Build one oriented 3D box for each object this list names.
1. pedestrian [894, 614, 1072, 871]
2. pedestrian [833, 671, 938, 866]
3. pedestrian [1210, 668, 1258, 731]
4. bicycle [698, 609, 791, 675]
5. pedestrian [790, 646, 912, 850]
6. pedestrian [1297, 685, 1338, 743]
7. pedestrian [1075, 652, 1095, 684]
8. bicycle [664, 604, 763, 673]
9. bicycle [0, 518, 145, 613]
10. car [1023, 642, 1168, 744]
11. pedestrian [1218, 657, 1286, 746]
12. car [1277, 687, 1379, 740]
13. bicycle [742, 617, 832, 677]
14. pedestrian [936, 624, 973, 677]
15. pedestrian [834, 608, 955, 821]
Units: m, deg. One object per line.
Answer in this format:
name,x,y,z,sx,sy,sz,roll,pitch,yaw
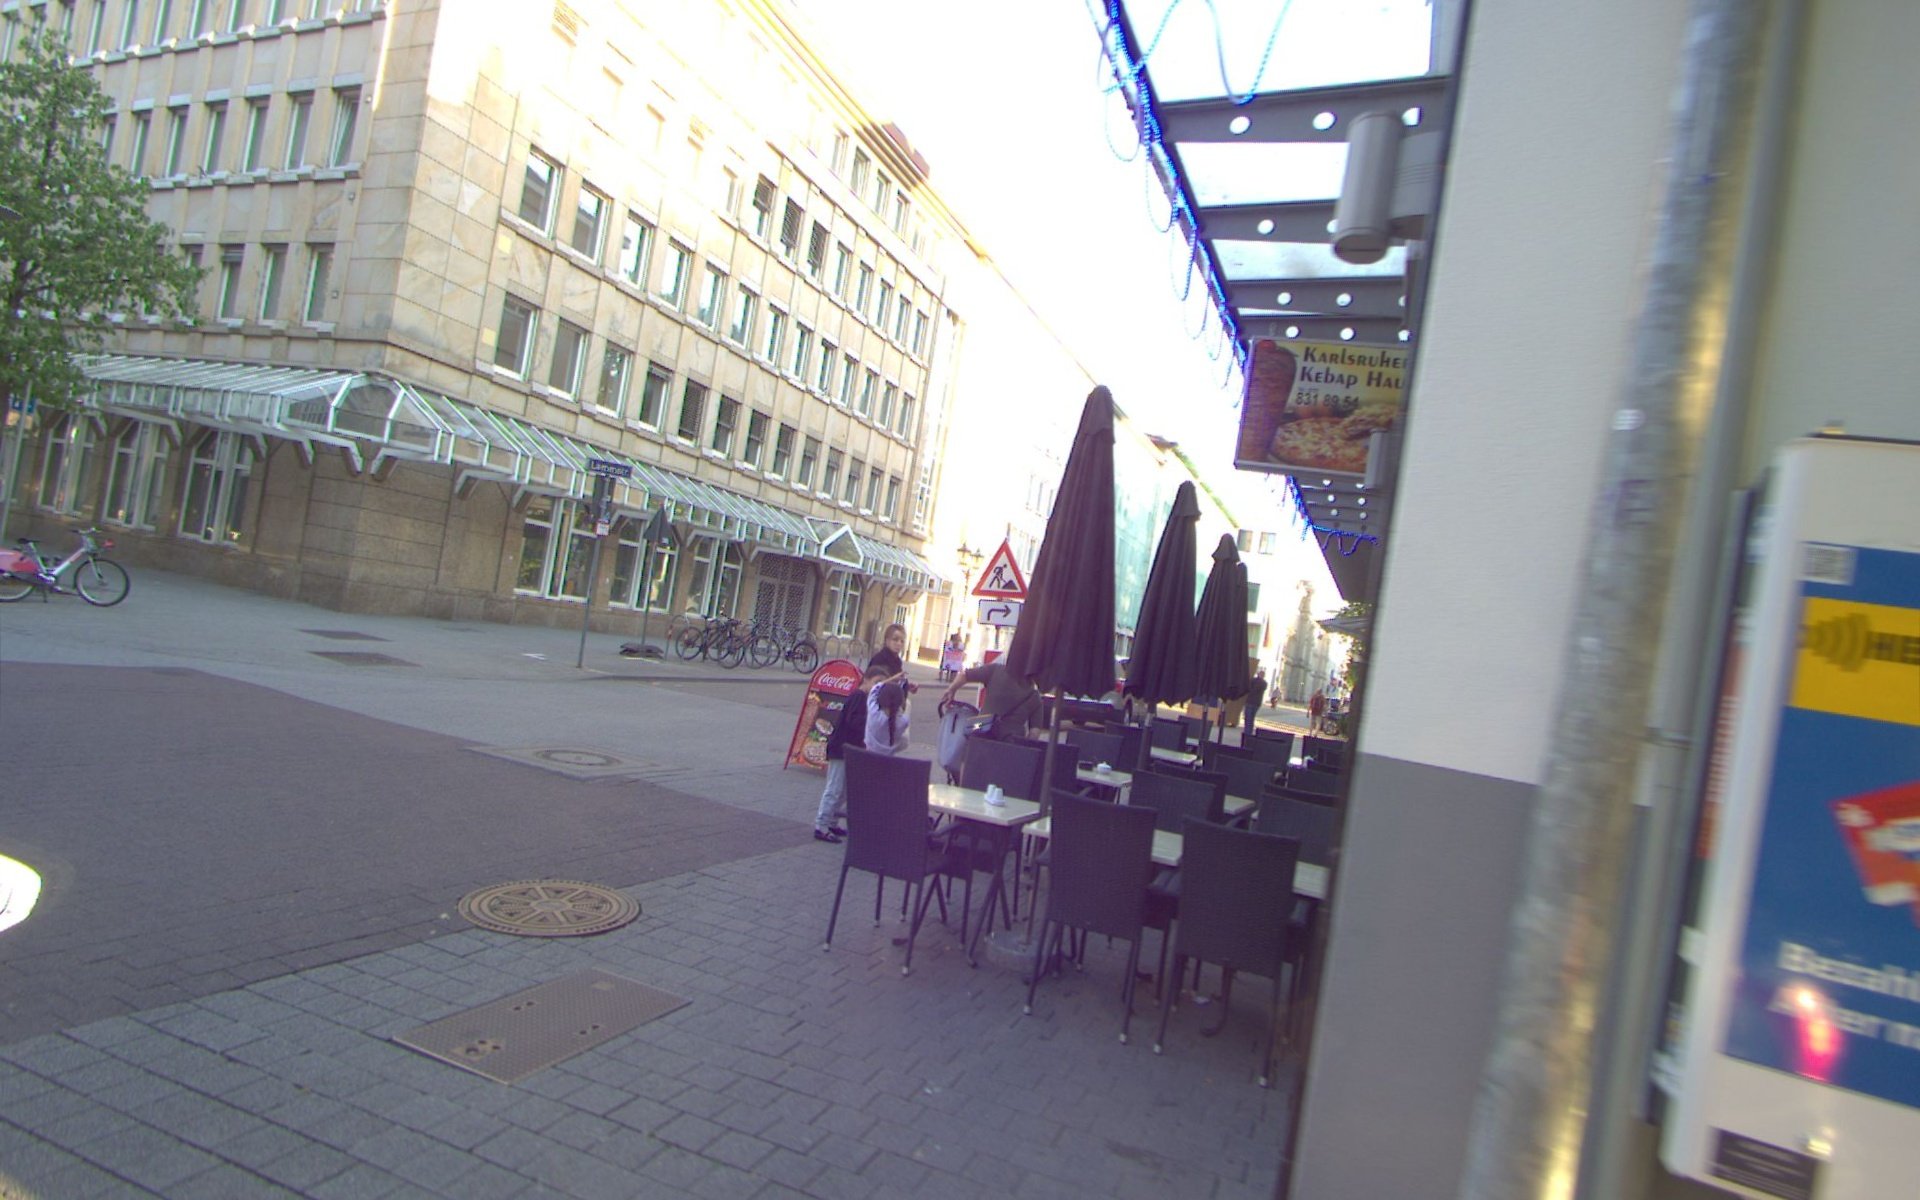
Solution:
pedestrian,0.162,0.949,6.884,0.781,1.553,0.620,9,-1,35
pedestrian,-0.488,1.071,6.487,0.405,1.137,0.471,9,-1,-19
pedestrian,8.364,3.021,30.740,0.927,1.723,0.890,9,-1,-7
bicycle,-4.678,0.900,21.814,1.914,1.063,0.544,10,0,26
pedestrian,-0.733,0.988,6.936,0.505,1.261,0.666,9,-1,7
pedestrian,11.666,3.702,32.798,0.926,1.723,0.891,9,-1,27
pedestrian,6.823,3.719,54.897,0.650,1.591,0.729,9,-1,24
bicycle,-5.068,0.782,20.656,1.914,1.063,0.544,10,0,25
bicycle,-12.140,-0.460,13.551,0.653,1.064,1.653,10,2,41
car,2.873,1.886,20.521,1.772,1.607,3.942,9,-2,23
pedestrian,7.163,2.476,24.748,1.199,1.960,0.892,9,-1,8
car,16.383,5.020,44.770,3.905,1.635,1.852,9,-1,28
bicycle,-3.964,1.069,23.049,1.913,1.040,0.513,9,0,23
pedestrian,-0.196,1.810,35.887,0.759,1.751,0.915,9,-1,24
pedestrian,-0.545,0.894,8.145,0.705,1.548,0.723,9,-1,-7
